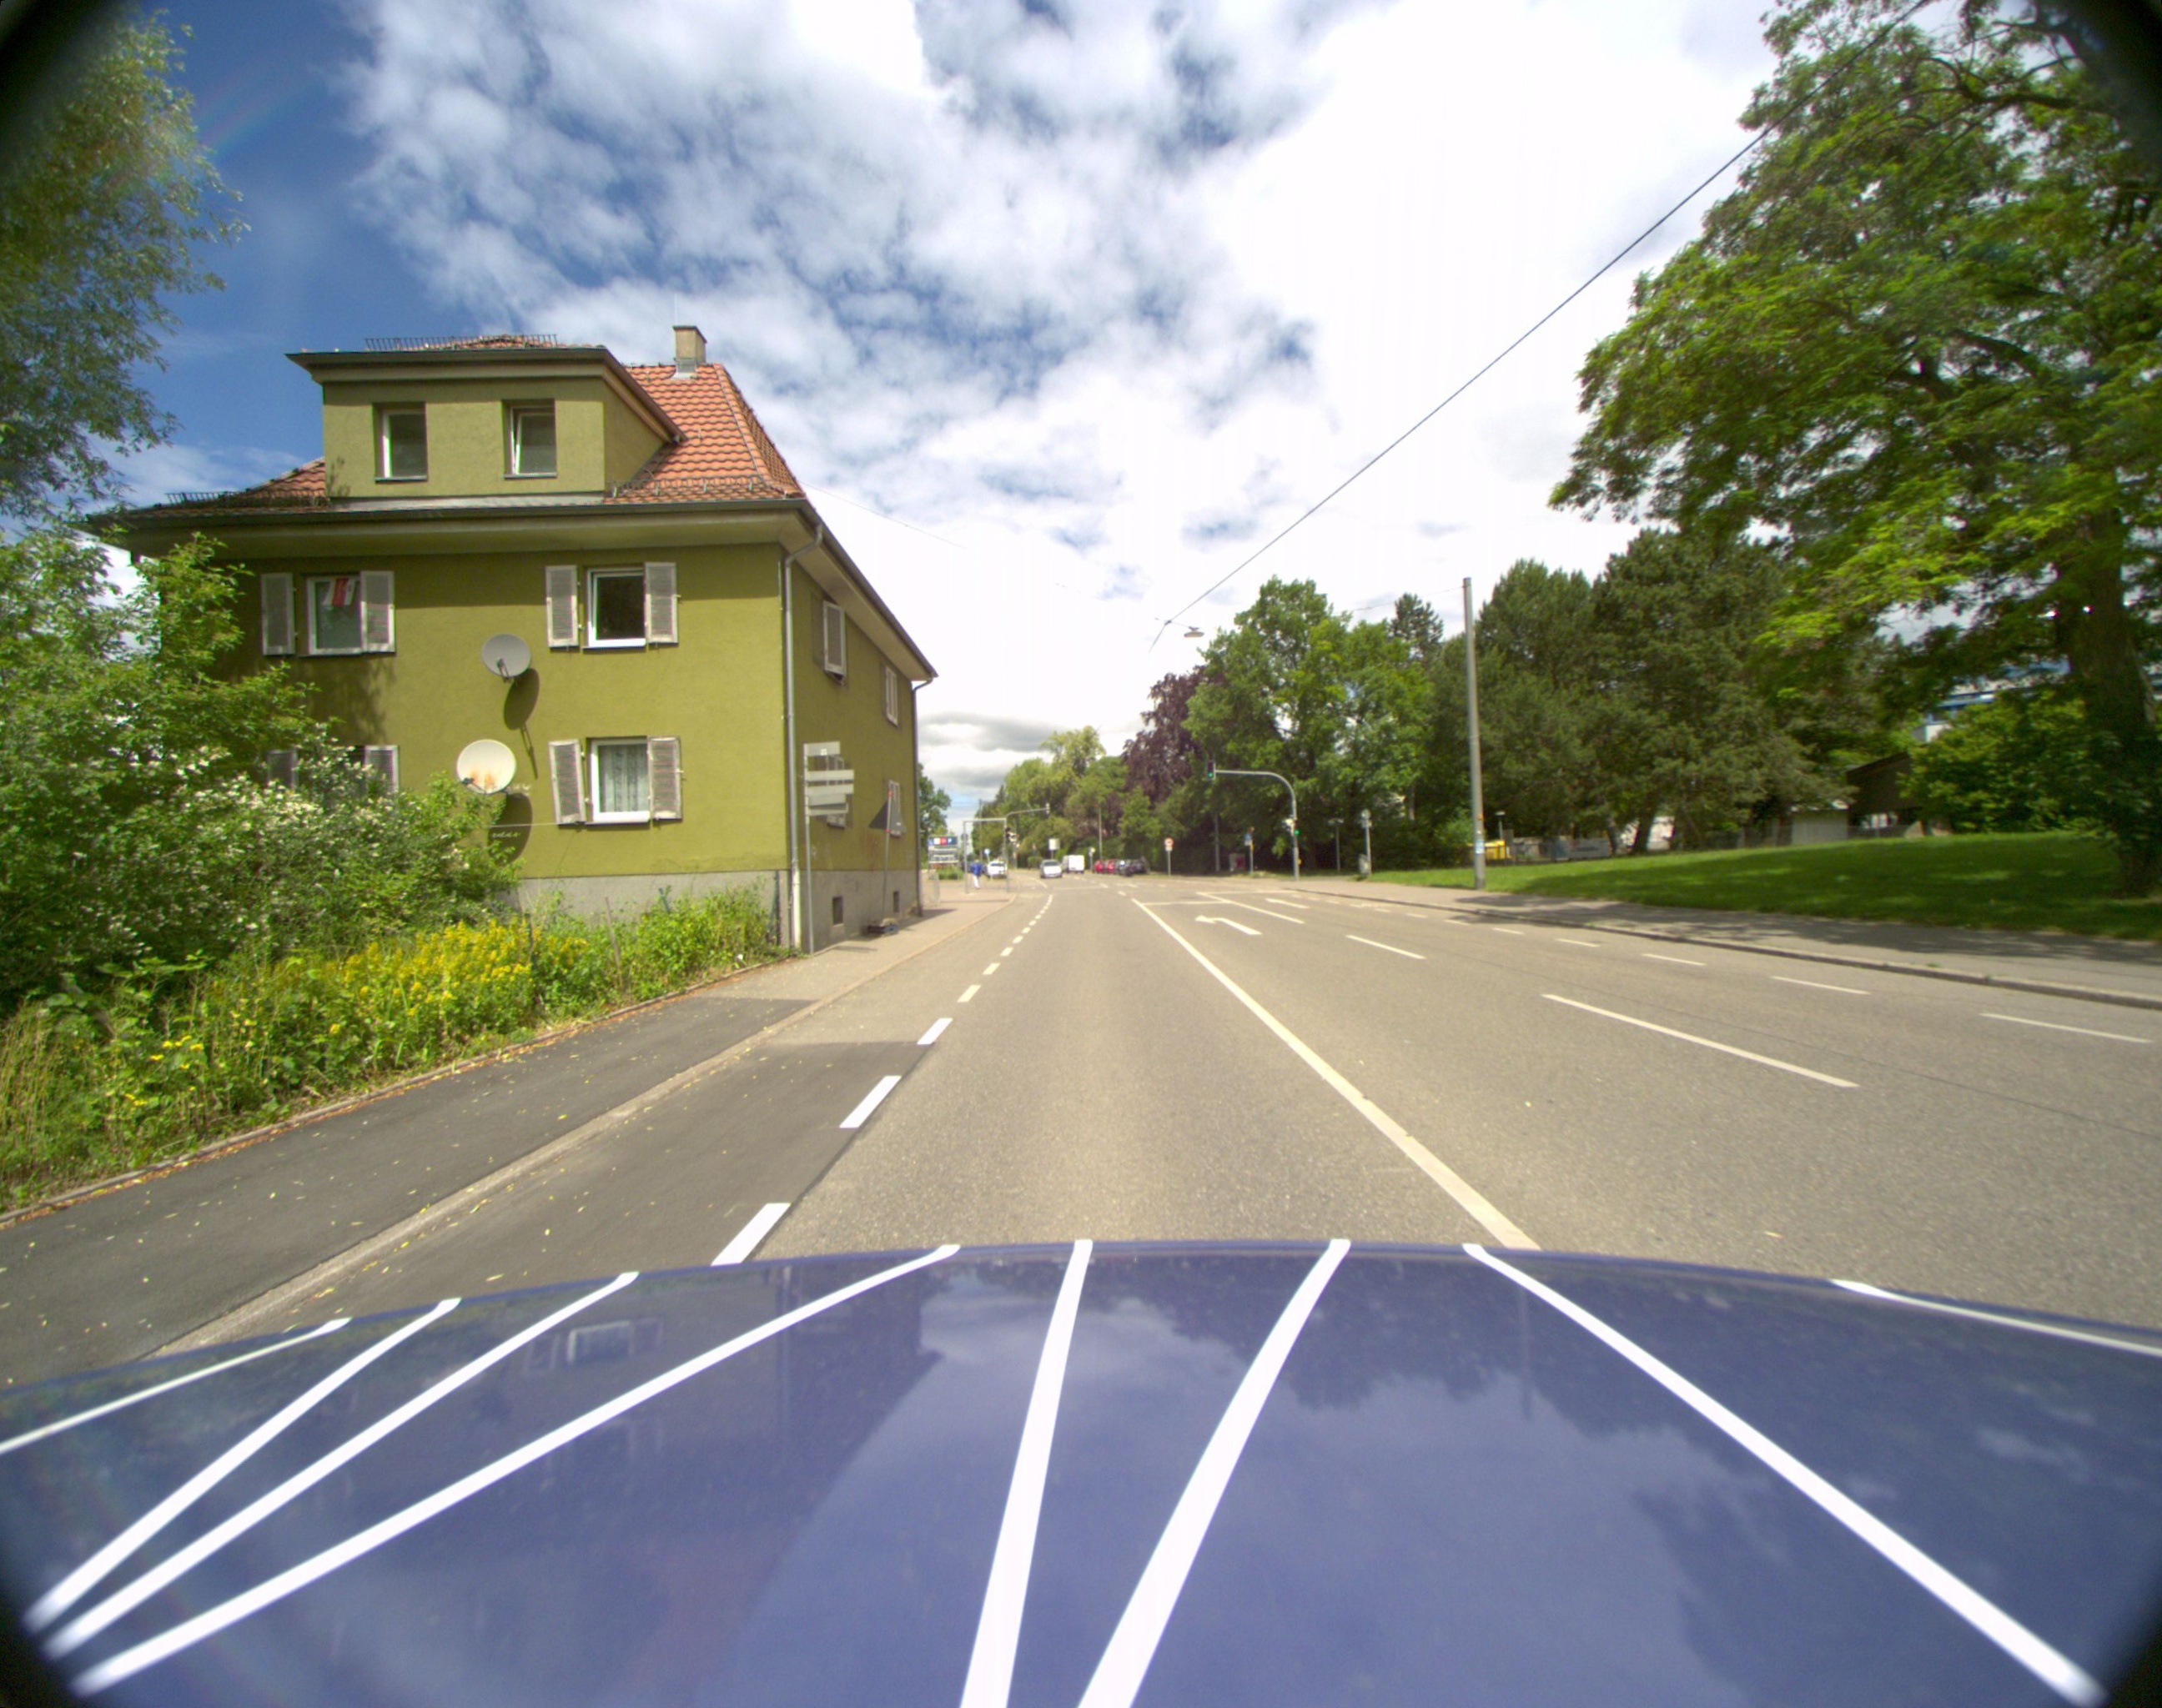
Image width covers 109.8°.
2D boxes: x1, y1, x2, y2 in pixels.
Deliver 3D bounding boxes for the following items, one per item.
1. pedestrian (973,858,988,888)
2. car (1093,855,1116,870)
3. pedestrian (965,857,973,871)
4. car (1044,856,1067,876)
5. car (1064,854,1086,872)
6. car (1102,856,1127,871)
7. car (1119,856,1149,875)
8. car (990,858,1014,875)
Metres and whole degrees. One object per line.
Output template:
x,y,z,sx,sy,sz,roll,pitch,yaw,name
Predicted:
-5.370,0.996,40.680,0.729,1.543,1.056,-2,0,-10,pedestrian
2.472,0.922,82.196,1.900,1.501,3.997,0,1,-7,car
-13.514,1.217,91.702,0.723,1.651,0.777,-4,1,-4,pedestrian
-2.226,1.034,67.103,1.781,1.519,3.999,-3,1,-1,car
-0.680,0.951,83.261,1.800,1.787,4.499,-1,0,-9,car
3.350,0.944,77.212,1.900,1.501,3.997,0,1,-7,car
4.687,1.000,67.530,1.900,1.501,3.997,0,1,-7,car
-7.155,1.127,69.036,1.799,1.501,3.999,-1,0,-1,car
